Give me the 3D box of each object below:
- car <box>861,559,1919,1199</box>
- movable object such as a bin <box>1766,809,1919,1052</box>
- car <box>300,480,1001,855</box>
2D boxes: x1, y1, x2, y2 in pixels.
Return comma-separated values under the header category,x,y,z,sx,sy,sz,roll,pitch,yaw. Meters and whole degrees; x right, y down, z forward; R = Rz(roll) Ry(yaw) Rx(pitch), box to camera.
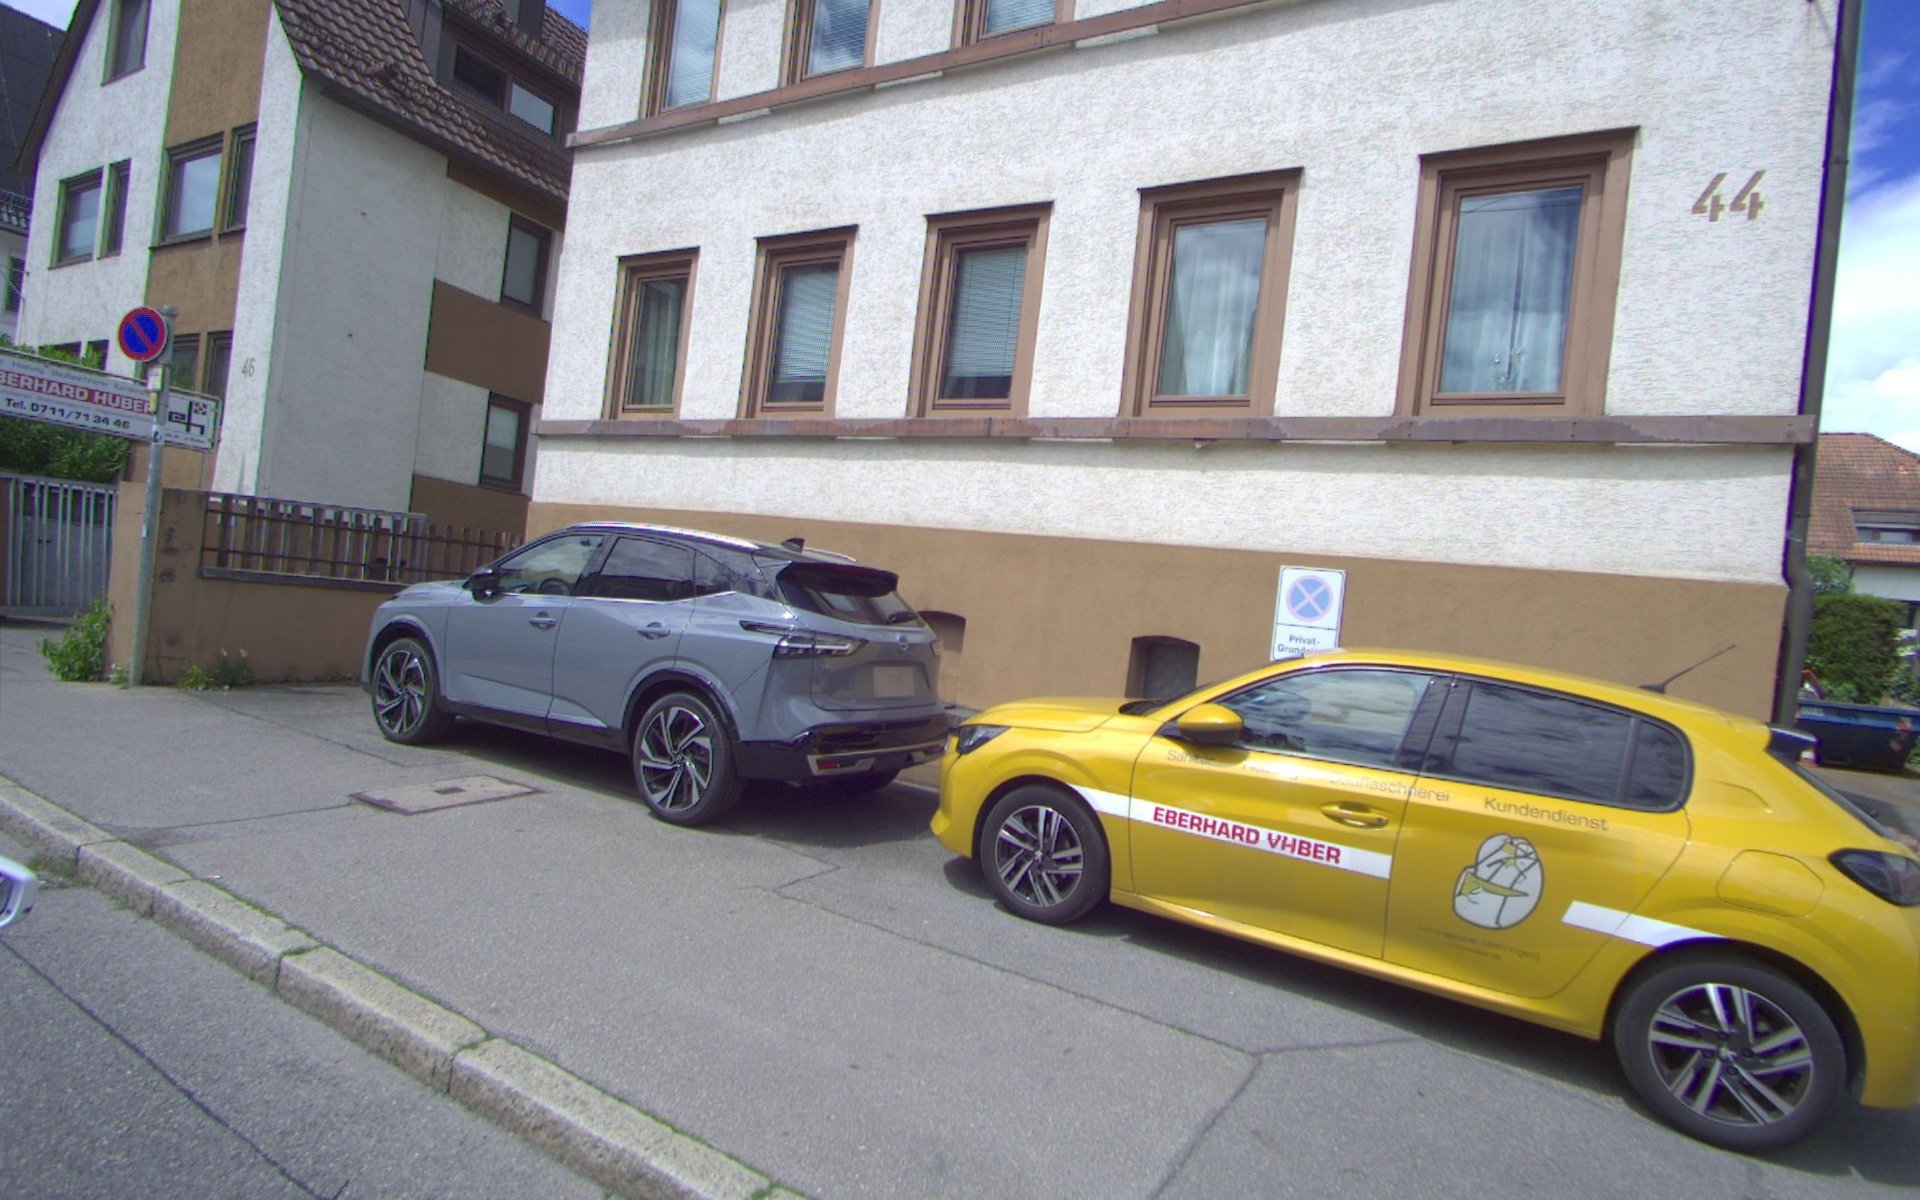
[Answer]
category,x,y,z,sx,sy,sz,roll,pitch,yaw
car,1.902,0.896,4.607,4.232,1.465,1.881,9,1,29
movable object such as a bin,4.288,1.540,4.778,0.589,0.936,0.501,7,0,35
car,-2.218,0.250,6.806,4.508,1.632,1.863,7,1,30
